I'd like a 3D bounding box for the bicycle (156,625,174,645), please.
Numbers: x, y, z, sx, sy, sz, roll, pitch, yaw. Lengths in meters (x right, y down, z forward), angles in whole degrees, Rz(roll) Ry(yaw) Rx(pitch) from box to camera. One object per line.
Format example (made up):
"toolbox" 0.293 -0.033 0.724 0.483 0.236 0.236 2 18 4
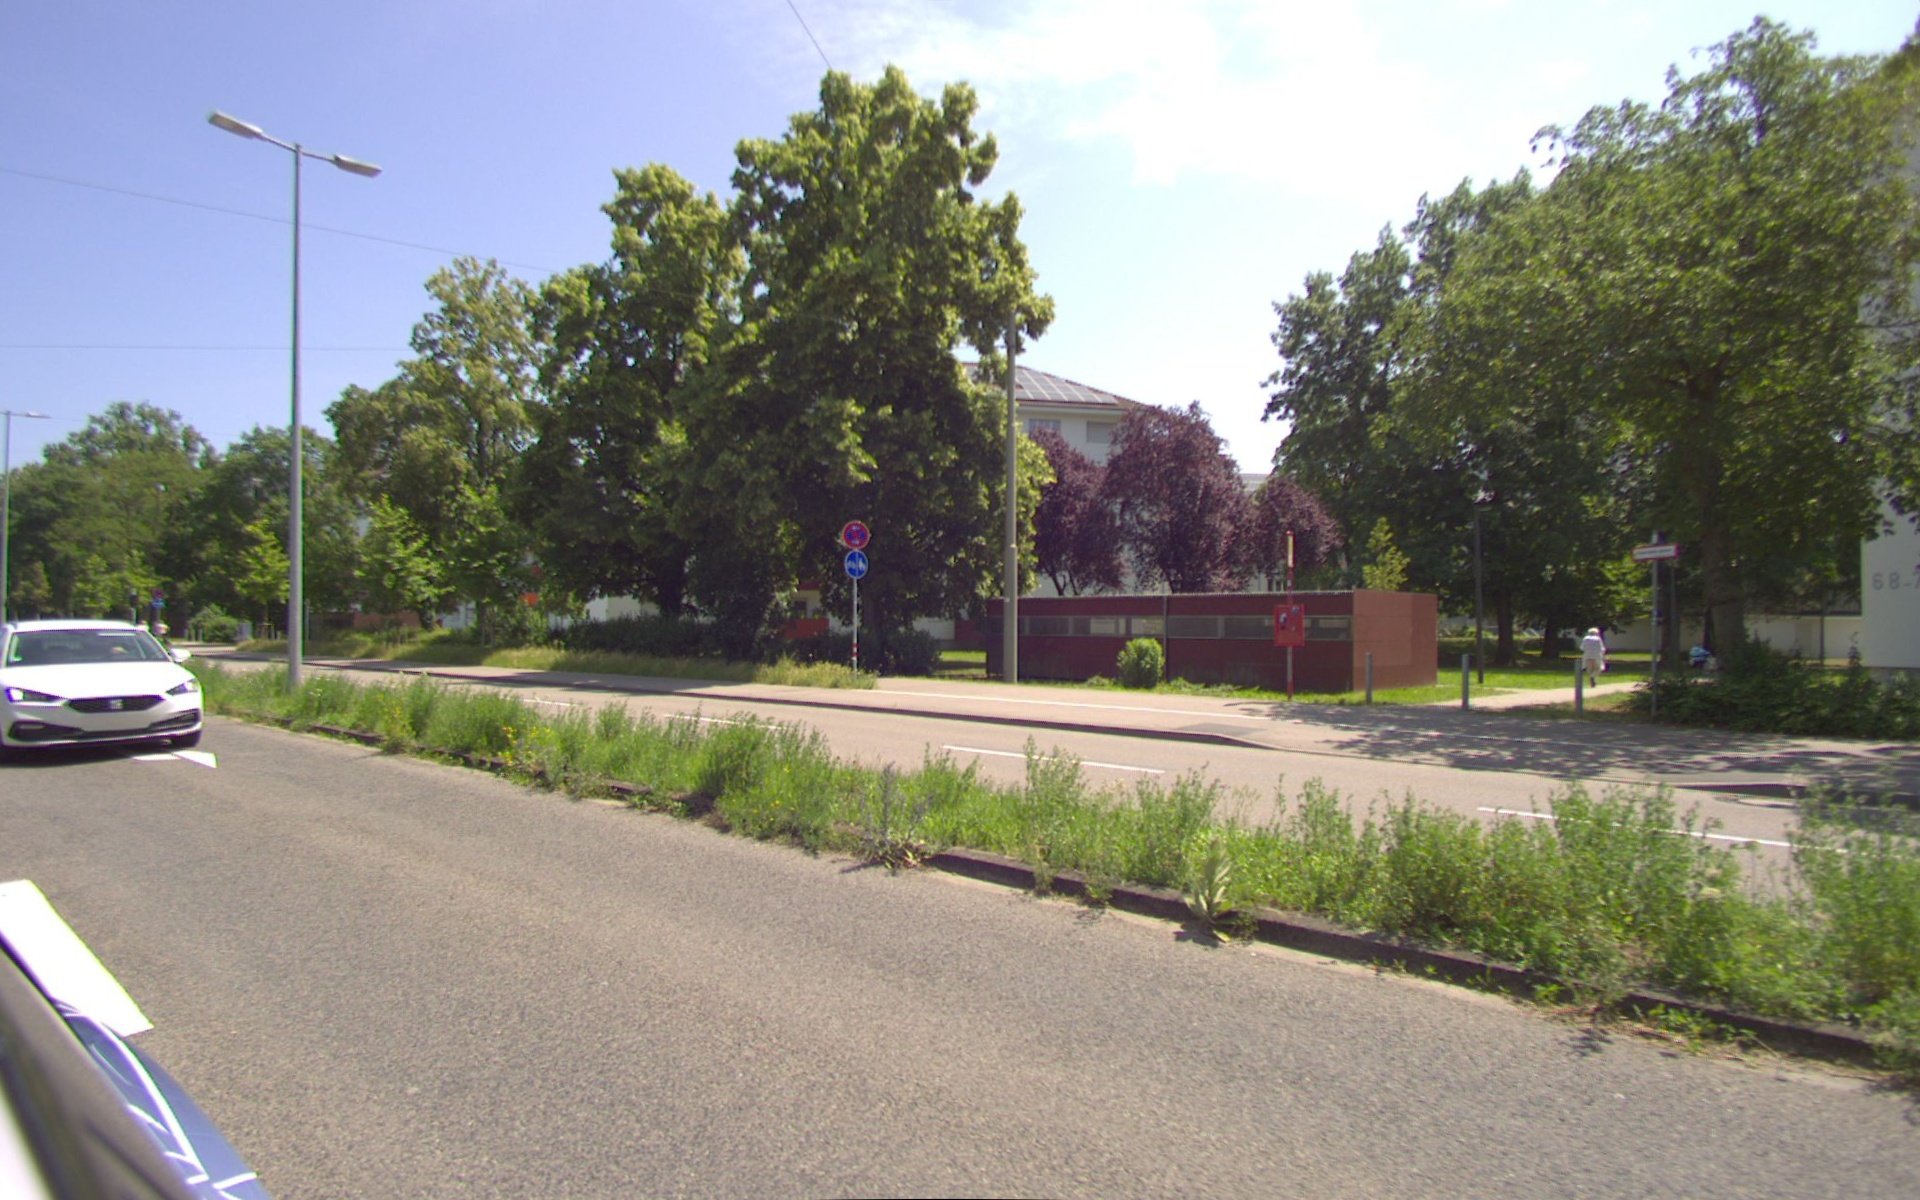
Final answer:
"bicycle" -44.718 1.976 56.905 1.378 1.103 0.548 0 0 40

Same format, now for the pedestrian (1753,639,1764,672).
"pedestrian" 37.457 2.596 47.479 0.359 1.496 0.445 -1 -3 40

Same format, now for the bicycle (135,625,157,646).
"bicycle" -45.156 1.957 56.133 1.614 1.142 0.582 -1 -3 39

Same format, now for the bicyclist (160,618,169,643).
"bicyclist" -44.724 1.733 56.897 0.440 1.402 0.353 -2 -2 41

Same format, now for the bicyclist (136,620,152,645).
"bicyclist" -45.525 1.808 56.458 0.754 1.356 0.539 -1 -3 38

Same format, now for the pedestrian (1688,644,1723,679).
"pedestrian" 25.795 2.116 35.020 0.397 1.184 0.900 3 -3 -44

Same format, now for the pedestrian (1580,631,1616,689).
"pedestrian" 16.272 1.520 25.815 0.688 1.442 0.468 -2 -3 43

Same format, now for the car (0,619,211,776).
"car" -10.268 0.977 11.672 4.109 1.479 1.750 -1 -1 40
